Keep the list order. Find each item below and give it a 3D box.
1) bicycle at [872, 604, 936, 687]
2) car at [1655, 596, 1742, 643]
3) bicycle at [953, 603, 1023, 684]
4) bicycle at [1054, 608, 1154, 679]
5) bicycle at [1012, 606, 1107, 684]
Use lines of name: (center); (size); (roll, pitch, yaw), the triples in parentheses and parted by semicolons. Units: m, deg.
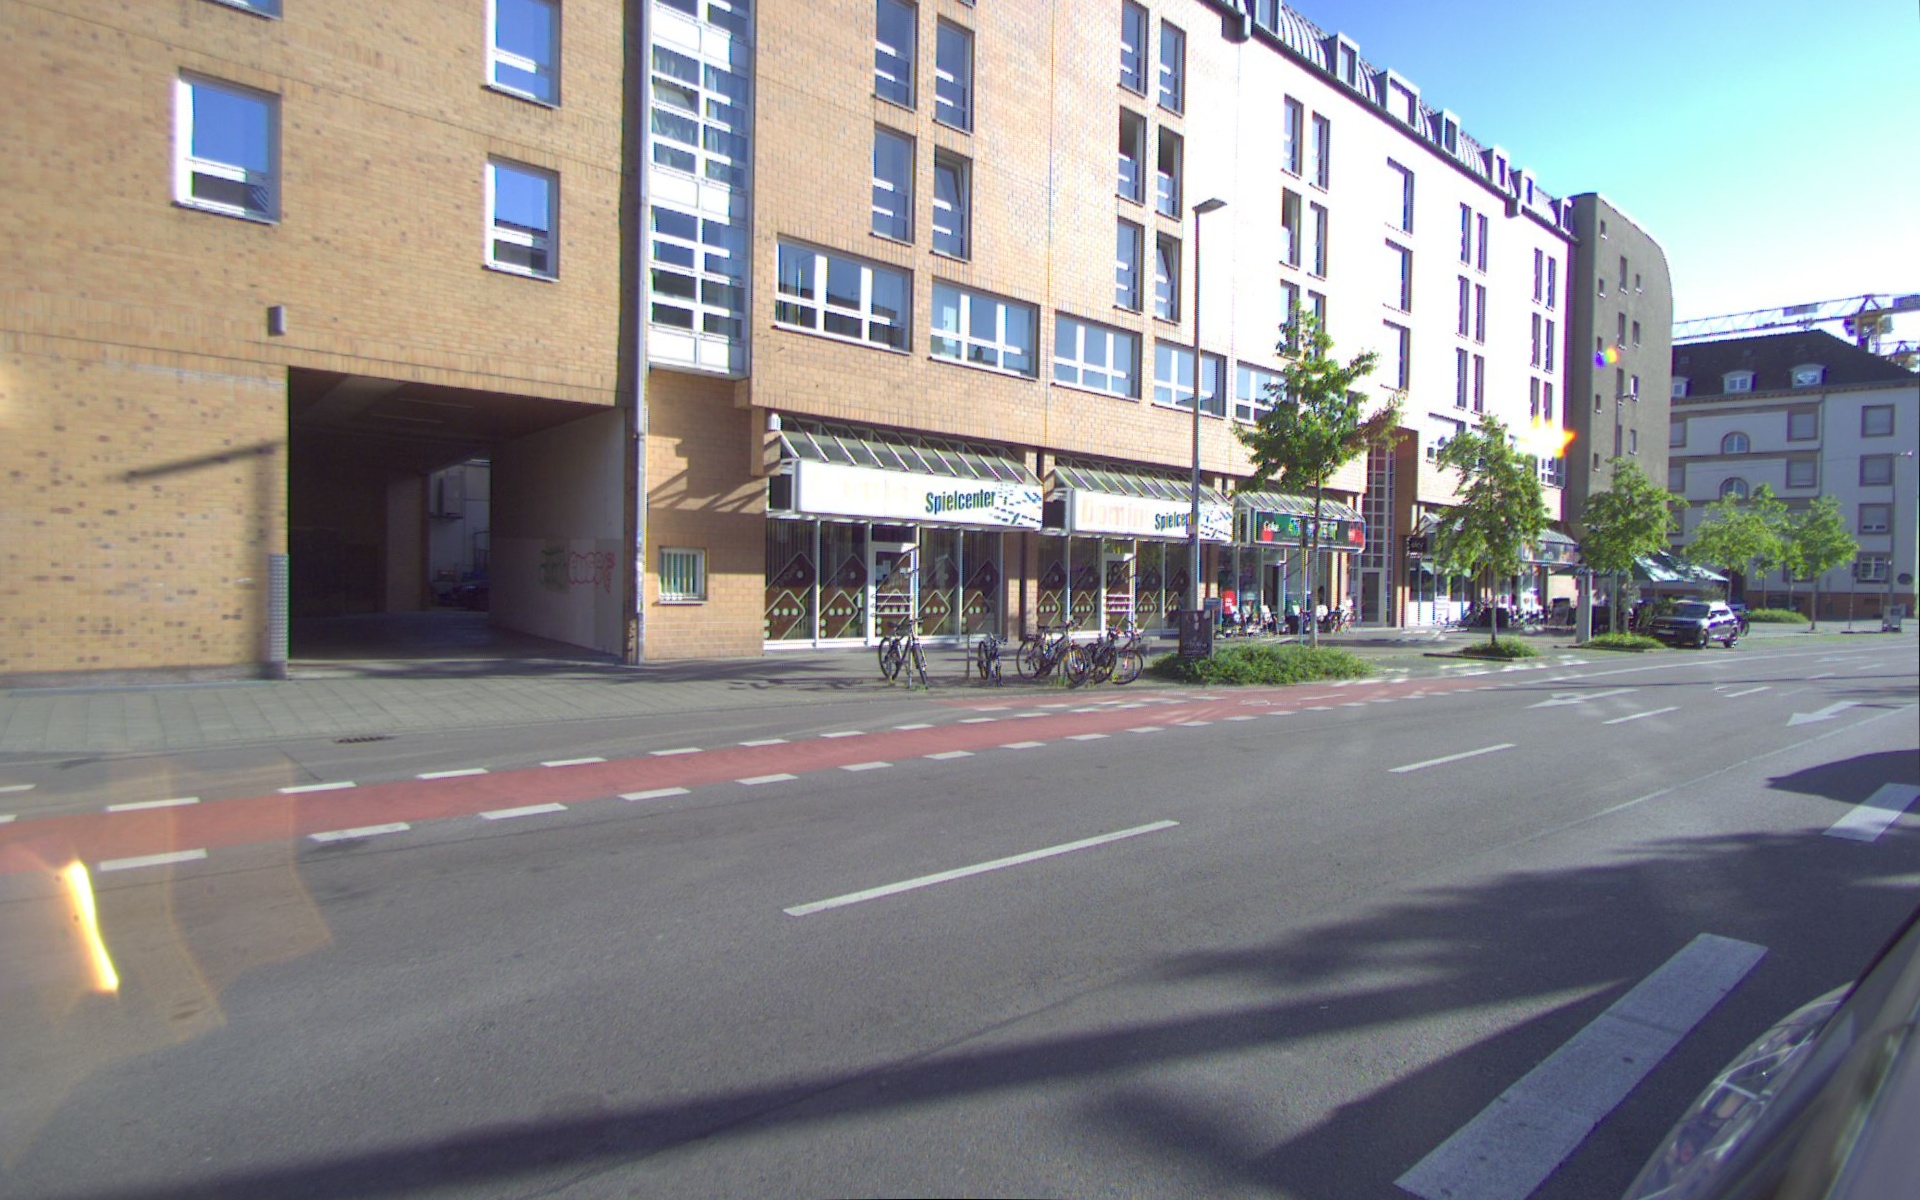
bicycle: (-0.927, 0.691, 16.290); (0.541, 1.162, 1.780); (0, 3, -20)
car: (25.844, 0.635, 35.387); (3.628, 1.549, 1.654); (-1, 0, -40)
bicycle: (0.440, 0.679, 16.760); (0.541, 1.162, 1.780); (0, 3, -20)
bicycle: (2.544, 0.750, 18.068); (0.724, 1.084, 1.775); (-1, 3, -37)
bicycle: (1.668, 0.728, 17.233); (0.543, 1.155, 1.775); (-1, 3, -37)
